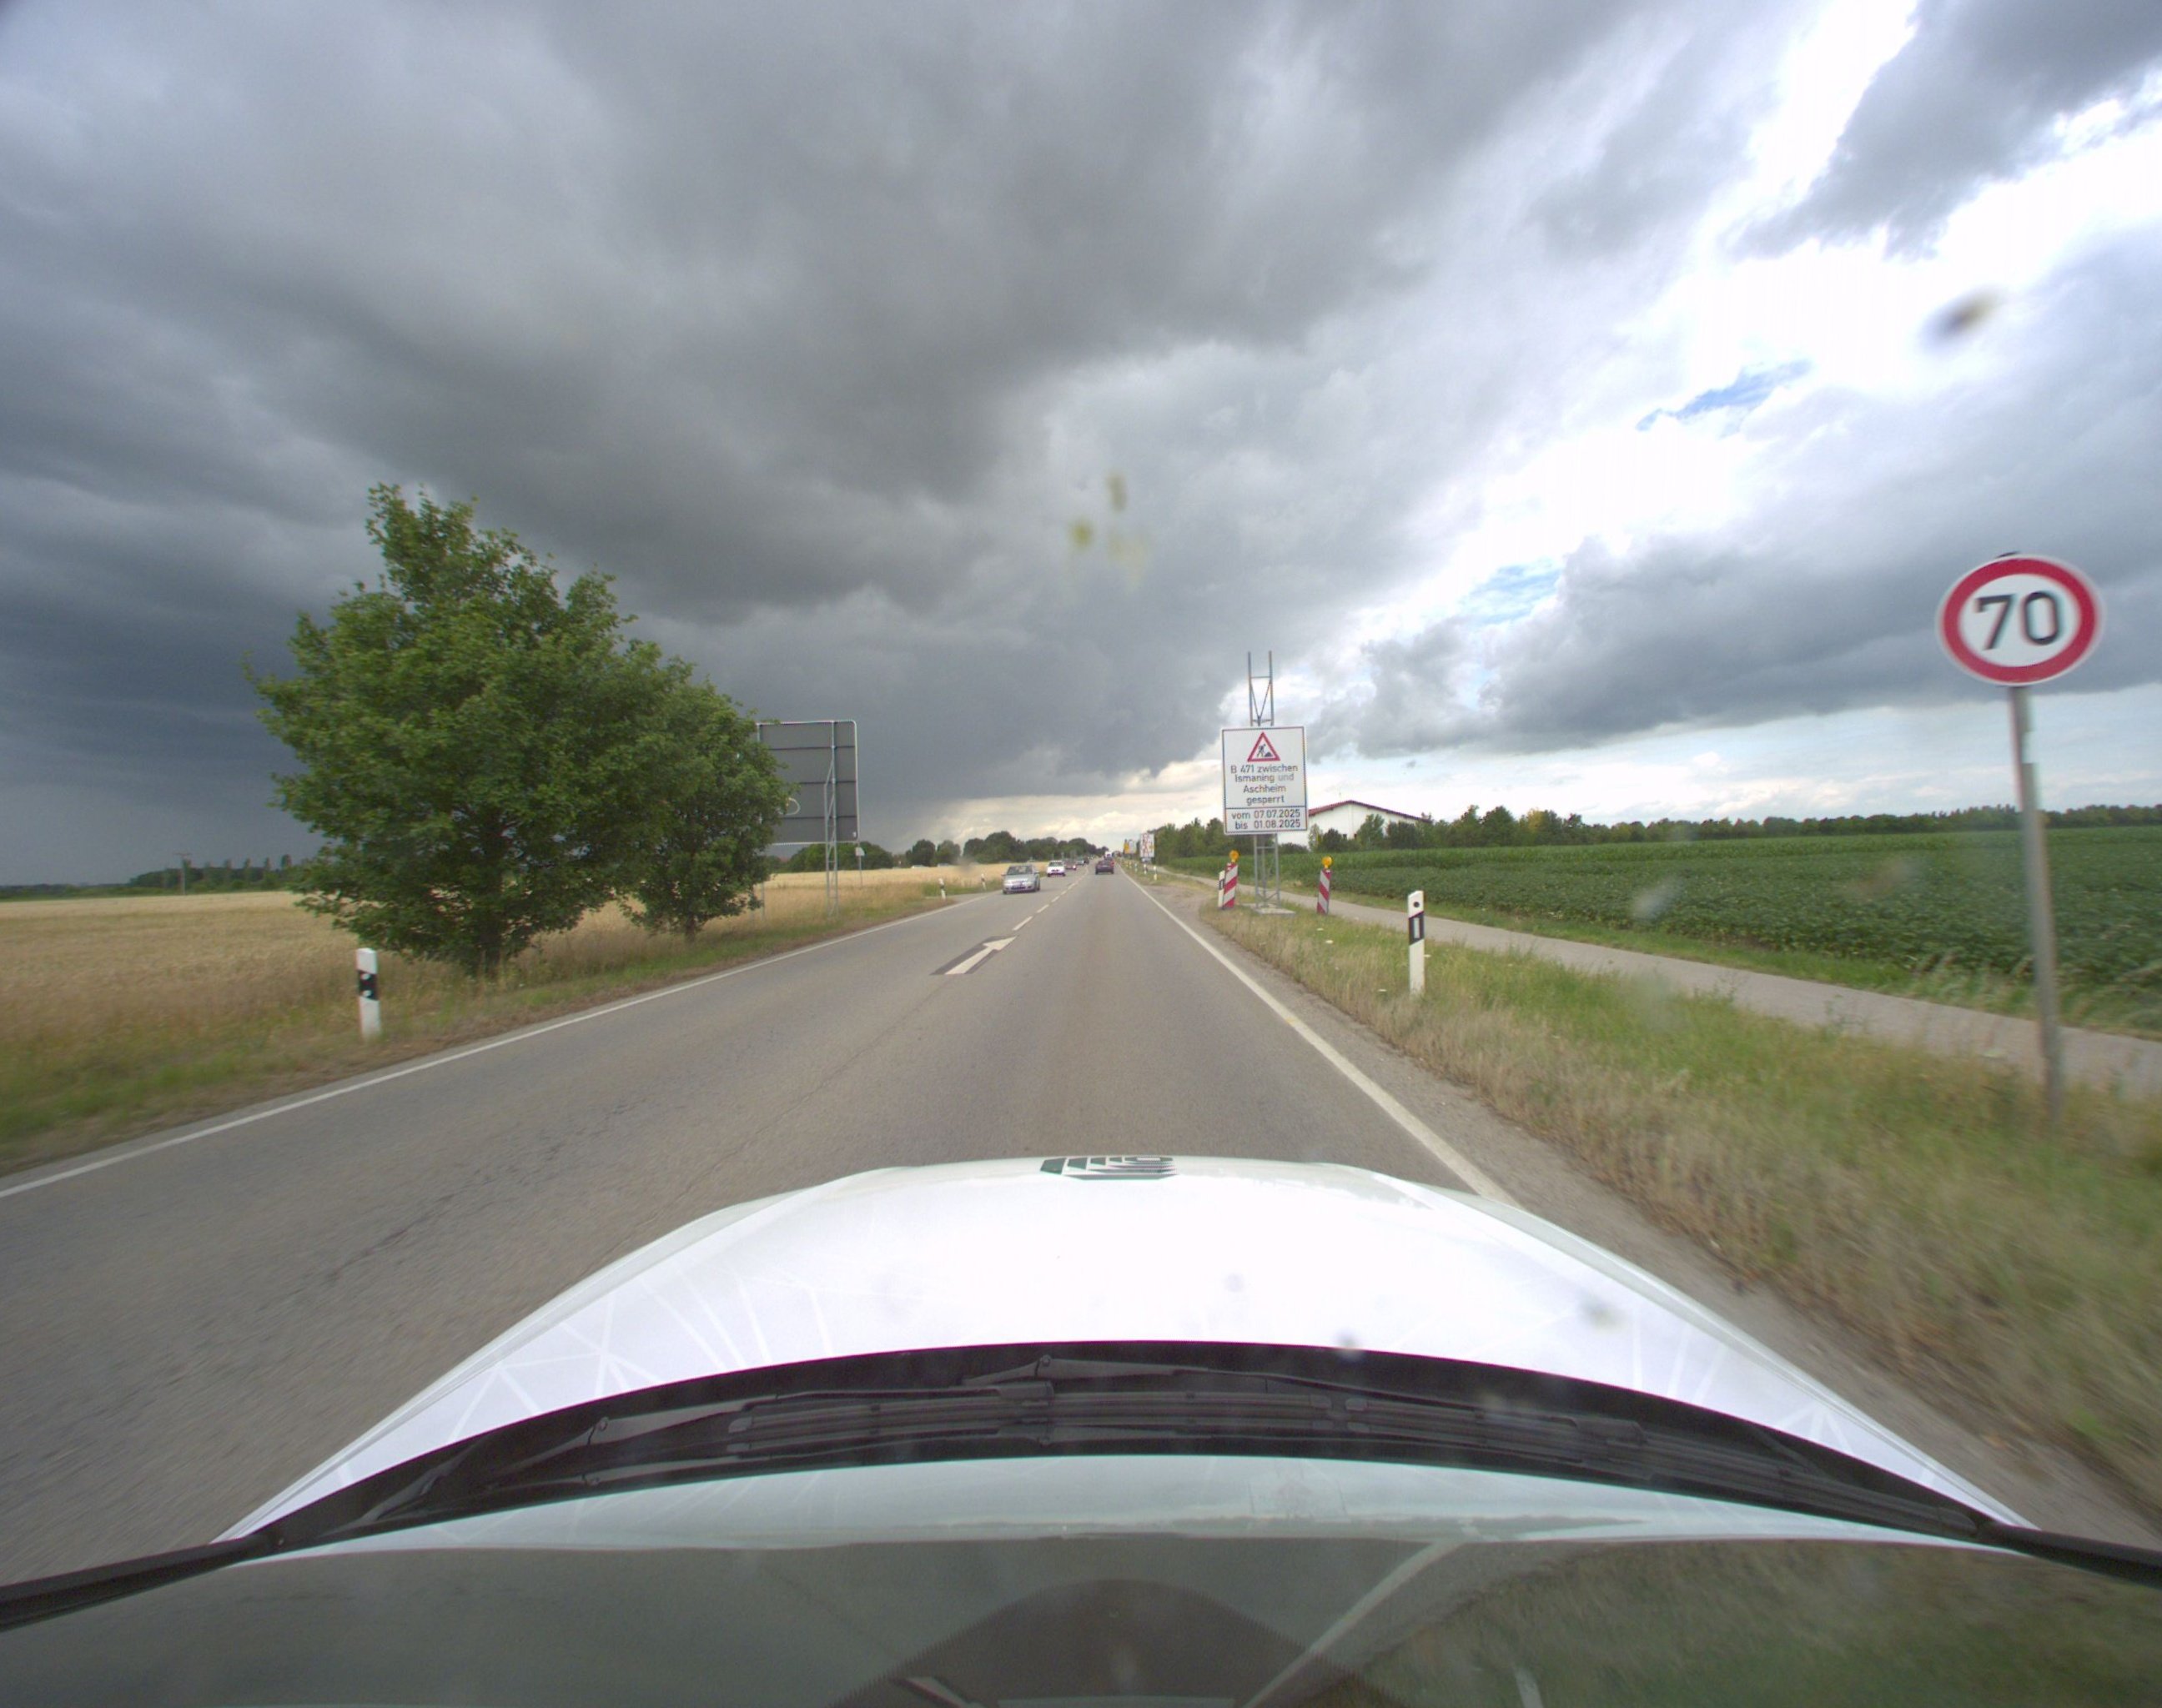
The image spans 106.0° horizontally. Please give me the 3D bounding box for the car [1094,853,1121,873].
[{"bbox_3d":[2.612,0.898,81.306,2.365,1.880,4.476,-4,-1,-1],"label":"car"}]

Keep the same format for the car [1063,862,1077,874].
[{"bbox_3d":[-1.534,1.989,115.777,1.706,1.488,4.610,-2,0,2],"label":"car"}]

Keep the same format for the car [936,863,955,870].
[{"bbox_3d":[-32.895,3.058,197.647,4.051,1.649,1.869,-2,-1,6],"label":"car"}]

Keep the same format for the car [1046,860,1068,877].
[{"bbox_3d":[-2.285,1.328,77.355,1.799,1.456,4.115,-2,0,2],"label":"car"}]

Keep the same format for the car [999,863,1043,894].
[{"bbox_3d":[-2.977,1.205,40.886,1.722,1.363,3.951,-2,0,2],"label":"car"}]

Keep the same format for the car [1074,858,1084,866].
[{"bbox_3d":[-0.430,1.761,174.386,2.057,1.580,4.767,-4,0,2],"label":"car"}]
